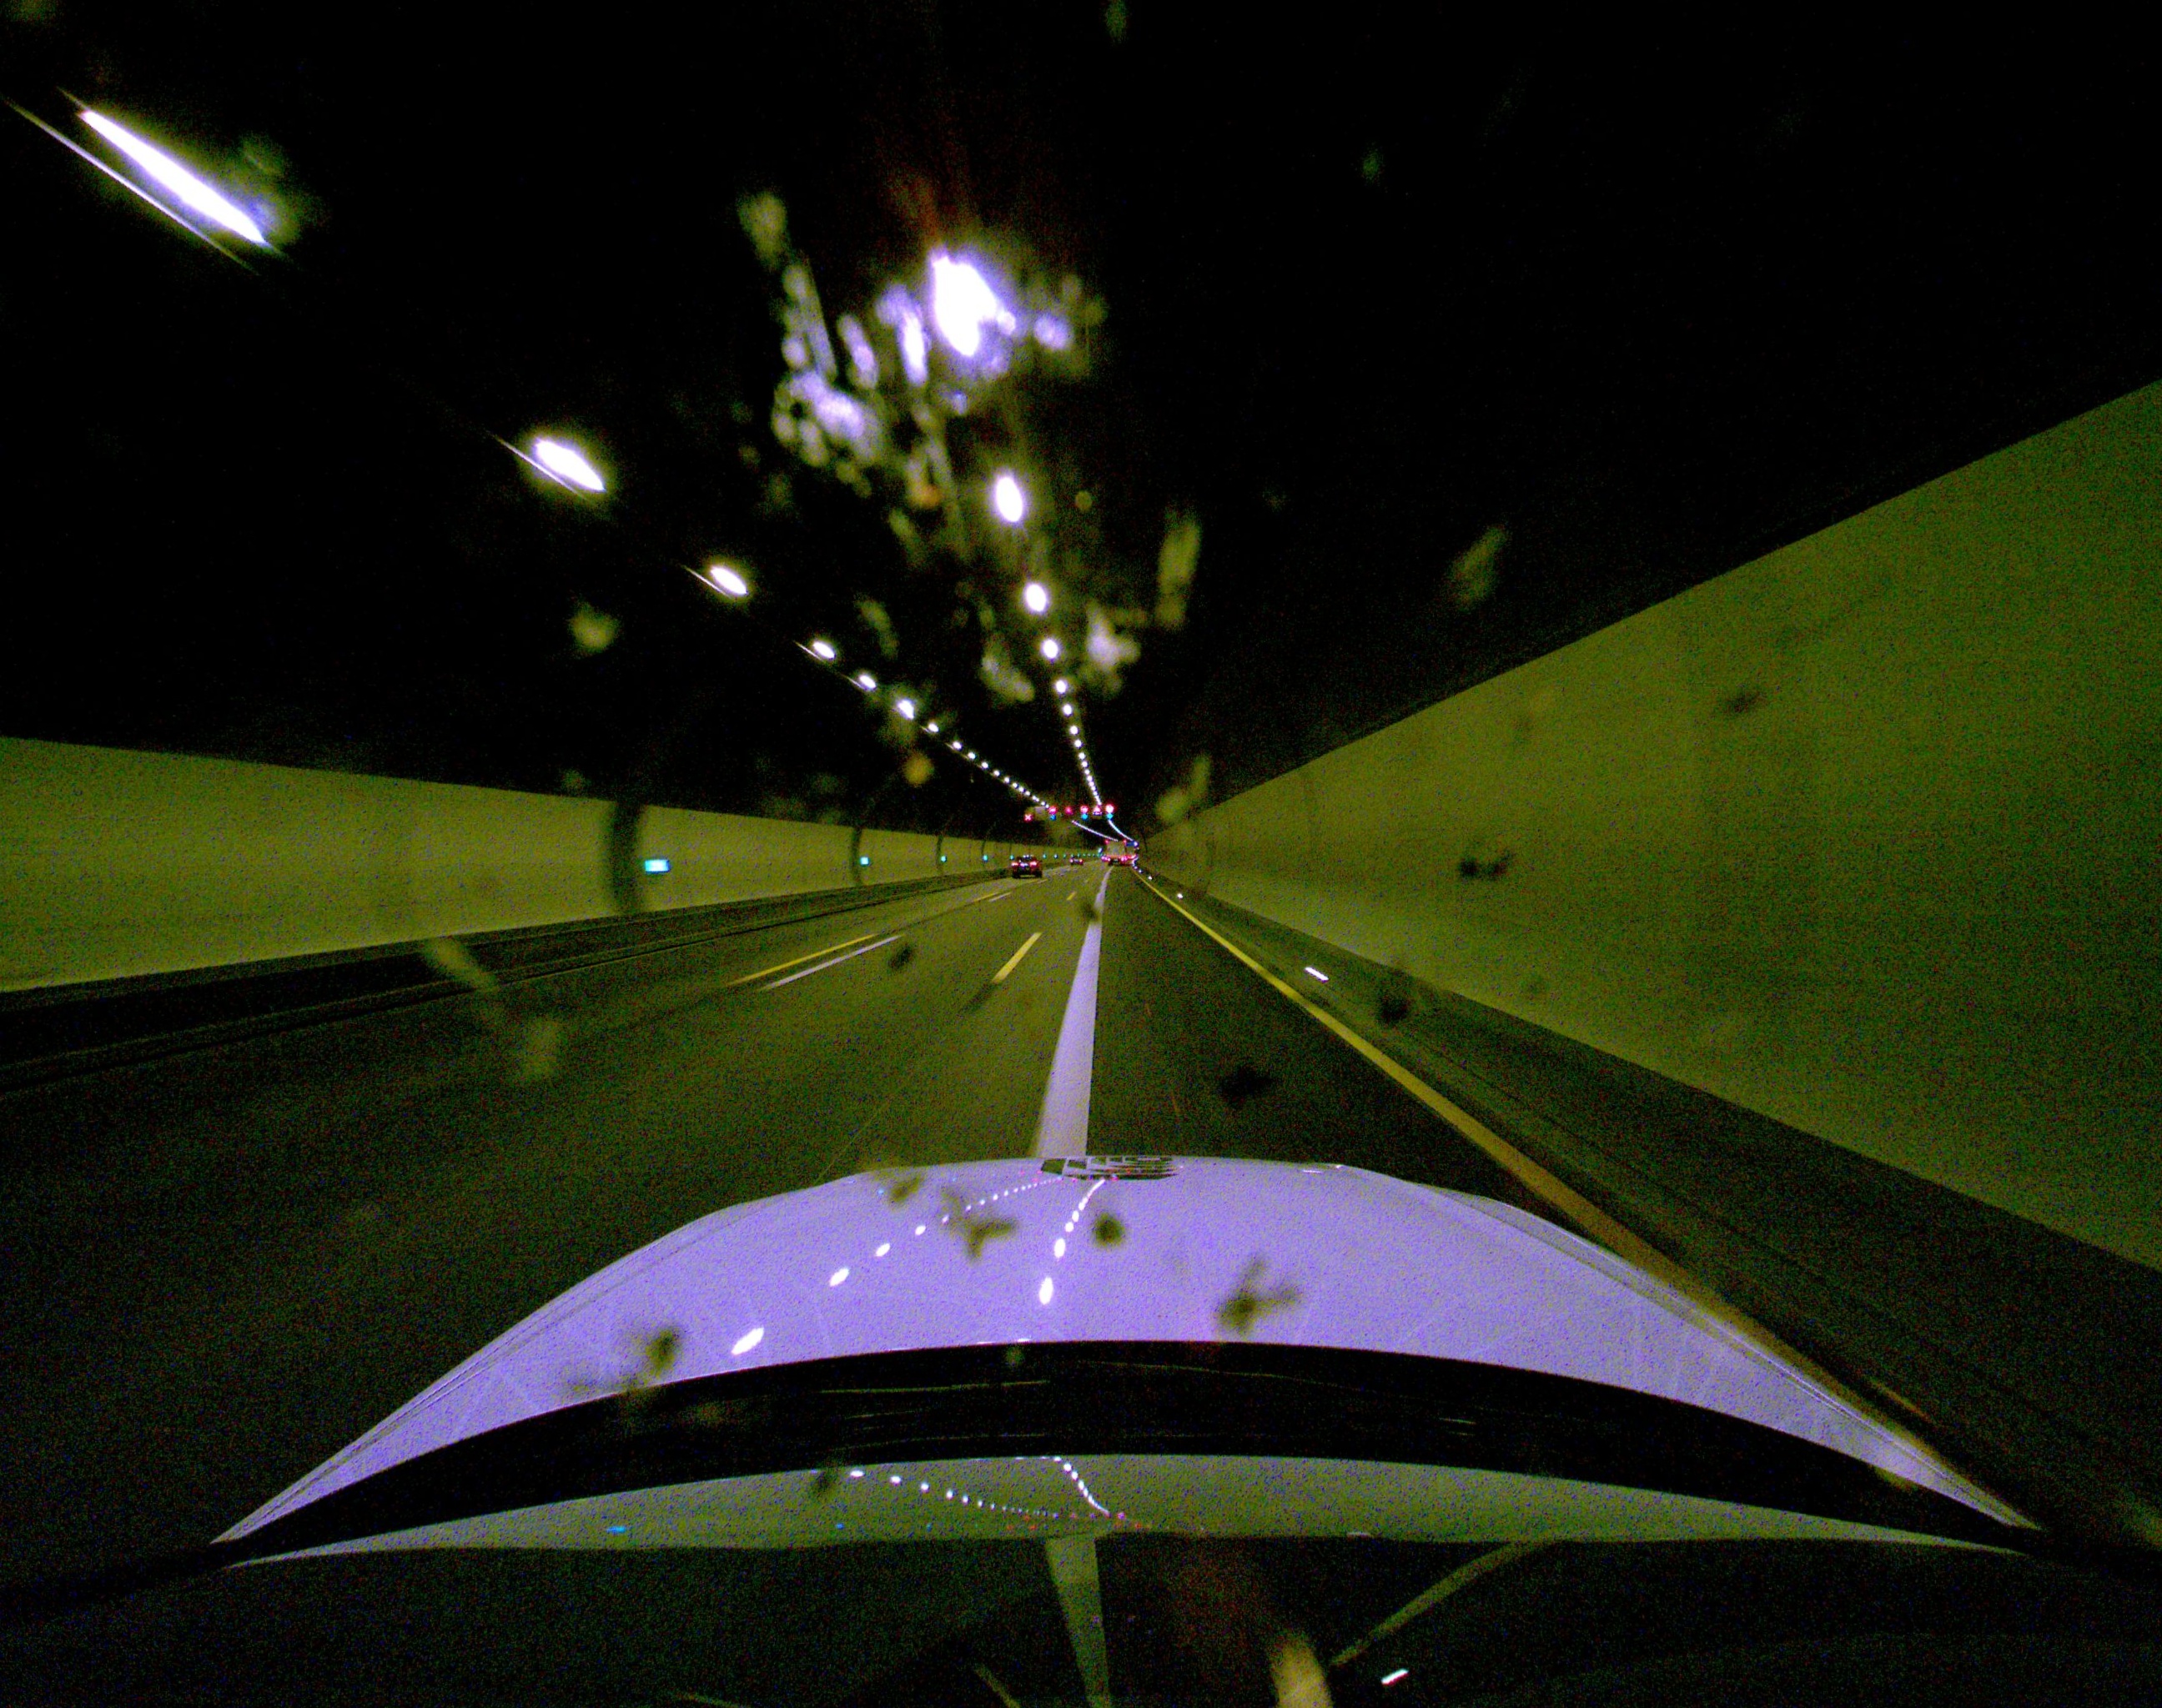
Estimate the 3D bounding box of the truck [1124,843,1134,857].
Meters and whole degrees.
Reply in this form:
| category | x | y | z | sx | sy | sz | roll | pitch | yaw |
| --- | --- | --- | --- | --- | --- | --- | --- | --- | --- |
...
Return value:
| category | x | y | z | sx | sy | sz | roll | pitch | yaw |
| --- | --- | --- | --- | --- | --- | --- | --- | --- | --- |
| truck | 14.691 | -1.086 | 247.417 | 2.910 | 4.048 | 14.043 | -1 | 0 | 4 |

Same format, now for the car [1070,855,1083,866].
| category | x | y | z | sx | sy | sz | roll | pitch | yaw |
| --- | --- | --- | --- | --- | --- | --- | --- | --- | --- |
| car | -0.612 | 0.882 | 115.167 | 1.806 | 1.520 | 4.002 | 0 | 1 | 2 |

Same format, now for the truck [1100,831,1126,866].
| category | x | y | z | sx | sy | sz | roll | pitch | yaw |
| --- | --- | --- | --- | --- | --- | --- | --- | --- | --- |
| truck | 4.572 | -0.837 | 120.043 | 3.267 | 4.650 | 17.288 | -1 | 0 | 1 |

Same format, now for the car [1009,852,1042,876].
| category | x | y | z | sx | sy | sz | roll | pitch | yaw |
| --- | --- | --- | --- | --- | --- | --- | --- | --- | --- |
| car | -3.827 | 0.698 | 56.937 | 1.805 | 1.618 | 4.003 | 0 | 0 | 3 |

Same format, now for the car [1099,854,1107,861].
| category | x | y | z | sx | sy | sz | roll | pitch | yaw |
| --- | --- | --- | --- | --- | --- | --- | --- | --- | --- |
| car | 4.765 | 0.796 | 176.451 | 1.644 | 1.274 | 4.002 | 0 | 1 | 2 |
